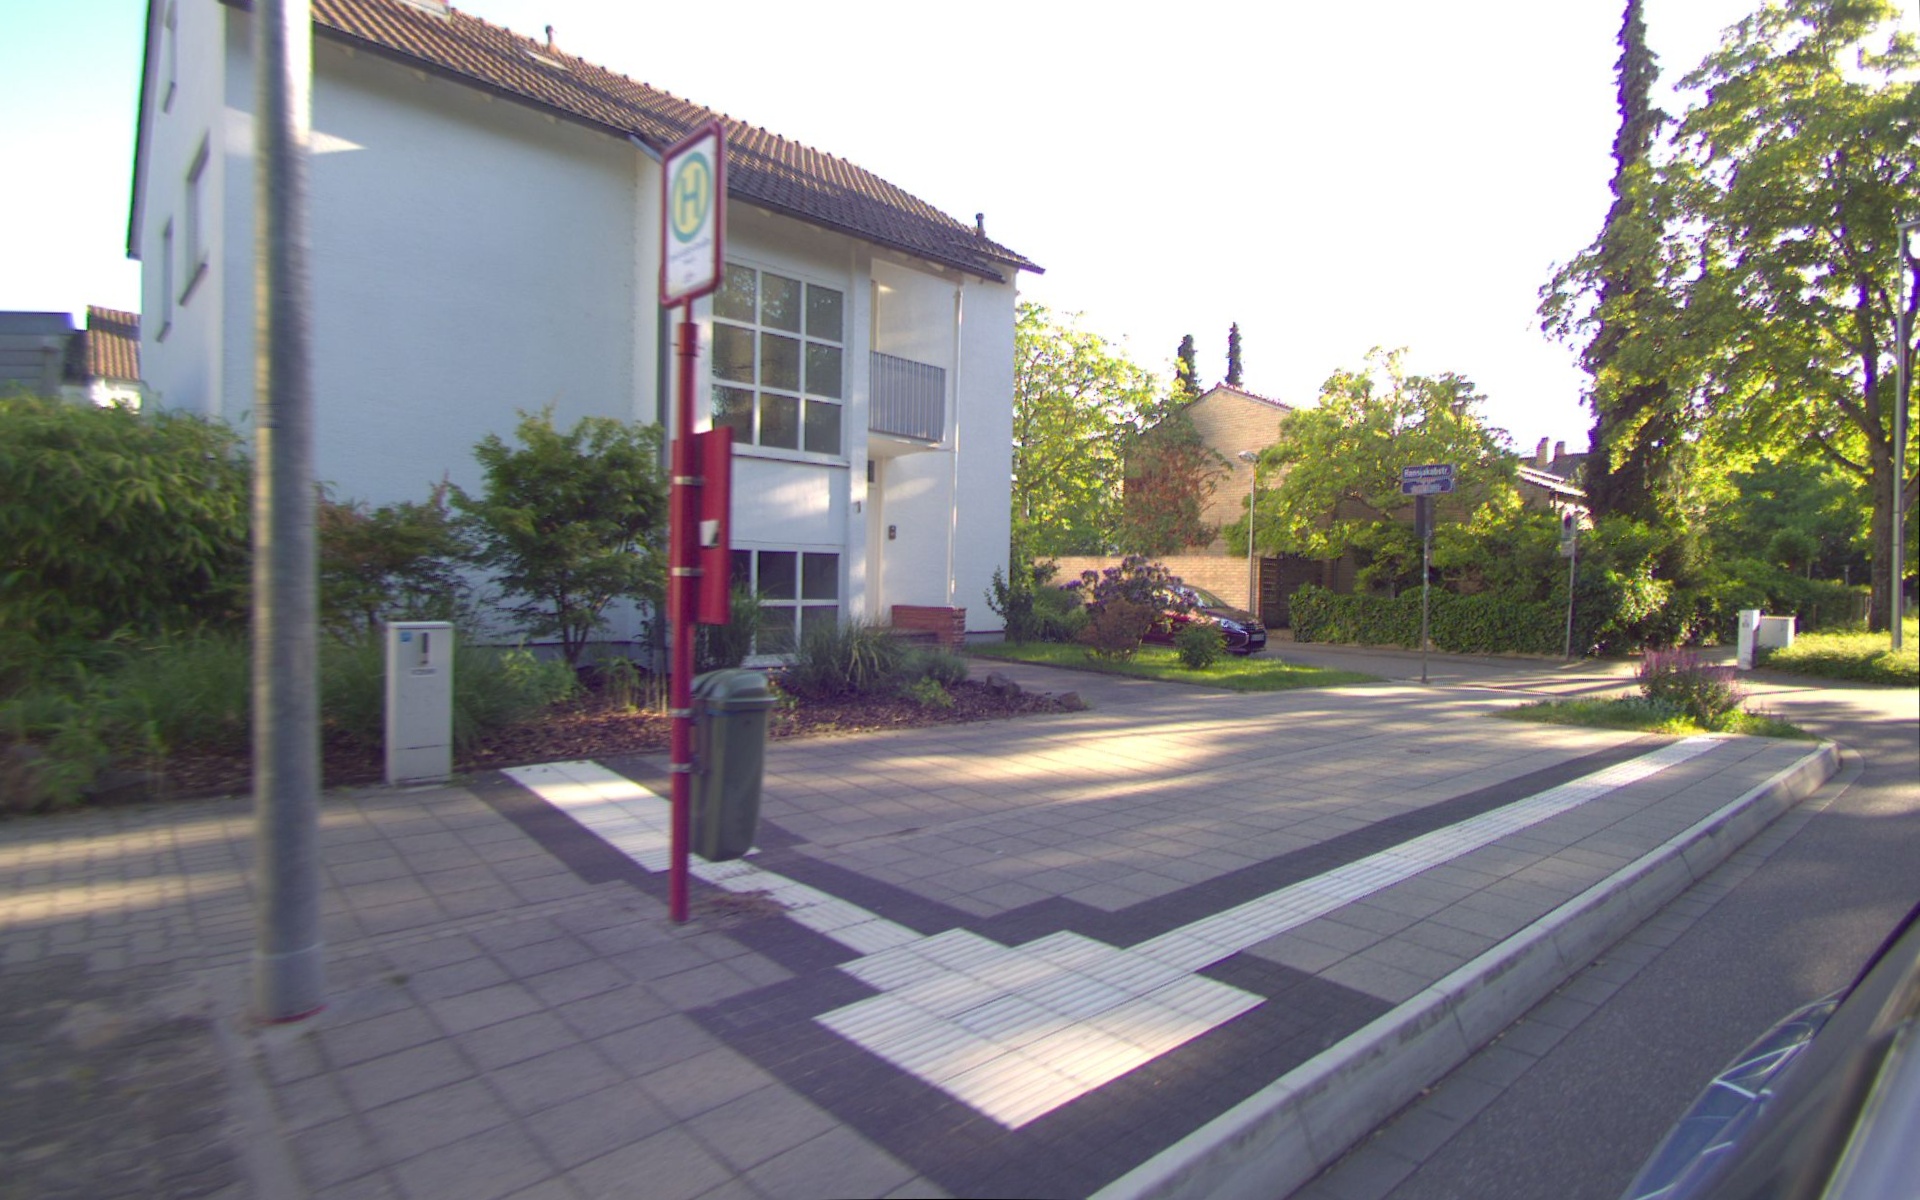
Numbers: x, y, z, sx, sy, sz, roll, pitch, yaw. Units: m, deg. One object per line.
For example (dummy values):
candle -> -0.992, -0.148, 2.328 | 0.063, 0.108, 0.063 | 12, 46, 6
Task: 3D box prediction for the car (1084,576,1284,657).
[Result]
car -> 4.543, 0.275, 20.830 | 3.731, 1.520, 1.664 | 1, 1, 44
